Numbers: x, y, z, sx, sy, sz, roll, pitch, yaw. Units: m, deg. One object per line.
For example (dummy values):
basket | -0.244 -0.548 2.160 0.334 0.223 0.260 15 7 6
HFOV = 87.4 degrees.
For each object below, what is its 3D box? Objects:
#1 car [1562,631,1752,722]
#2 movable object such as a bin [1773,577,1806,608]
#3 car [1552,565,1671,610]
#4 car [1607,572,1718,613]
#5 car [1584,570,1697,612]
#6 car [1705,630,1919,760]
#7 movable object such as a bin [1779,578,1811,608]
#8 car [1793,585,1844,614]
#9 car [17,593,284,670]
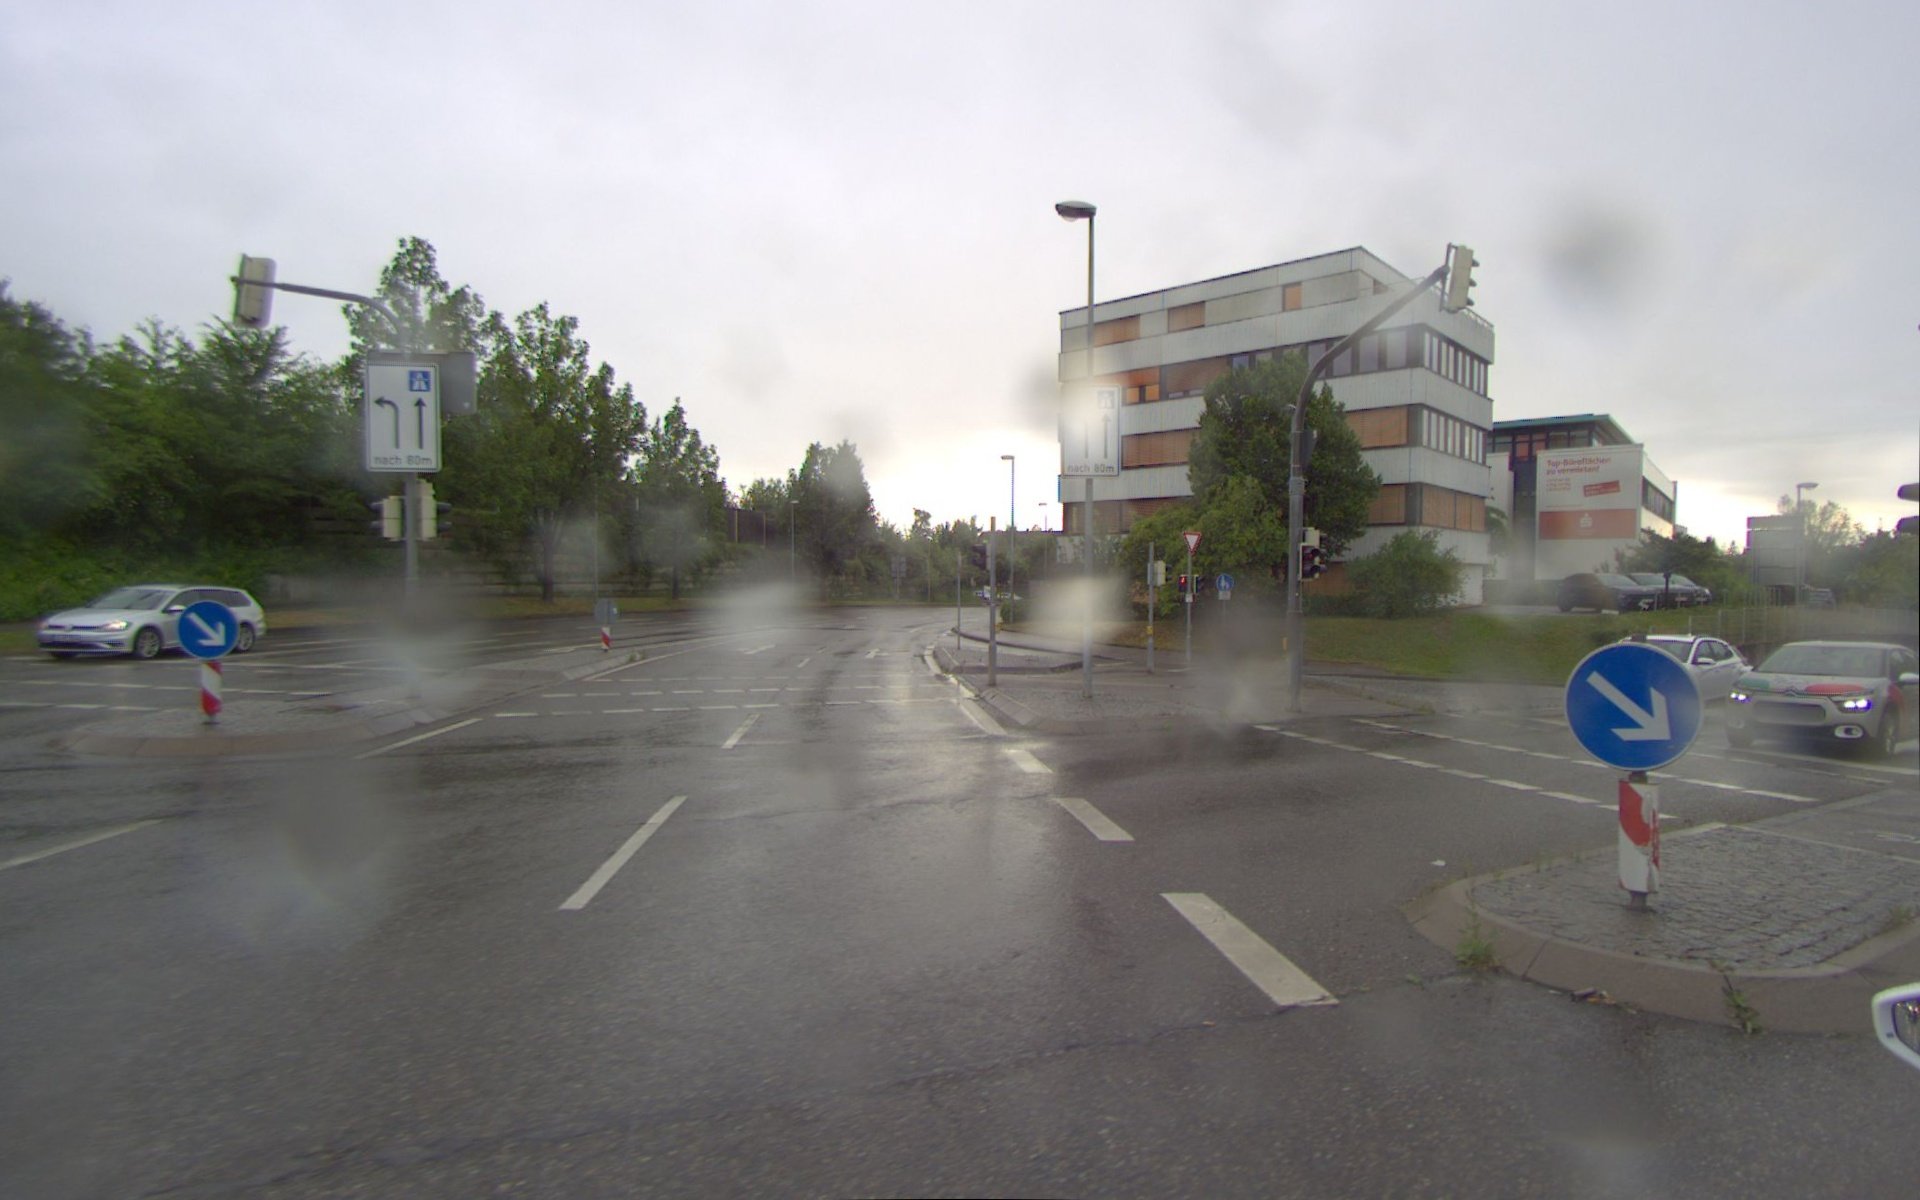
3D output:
car | 13.363 1.400 19.204 3.960 1.514 1.709 2 0 -35
movable object such as a bin | 42.010 -0.389 50.874 1.437 1.456 1.073 3 0 -43
car | 26.292 -0.495 40.713 1.867 1.607 3.995 3 0 -8
car | 30.943 -0.322 44.400 1.866 1.607 3.998 3 0 -4
car | 28.660 -0.379 42.466 1.866 1.607 3.998 3 0 -4
car | 12.143 1.222 13.993 3.960 1.514 1.650 2 0 -35
movable object such as a bin | 43.132 -0.361 51.894 1.437 1.456 1.073 3 0 -43
car | 49.885 -0.005 58.354 3.973 1.461 1.809 3 0 -44
car | -16.490 0.582 20.819 1.727 1.381 4.533 1 0 2
